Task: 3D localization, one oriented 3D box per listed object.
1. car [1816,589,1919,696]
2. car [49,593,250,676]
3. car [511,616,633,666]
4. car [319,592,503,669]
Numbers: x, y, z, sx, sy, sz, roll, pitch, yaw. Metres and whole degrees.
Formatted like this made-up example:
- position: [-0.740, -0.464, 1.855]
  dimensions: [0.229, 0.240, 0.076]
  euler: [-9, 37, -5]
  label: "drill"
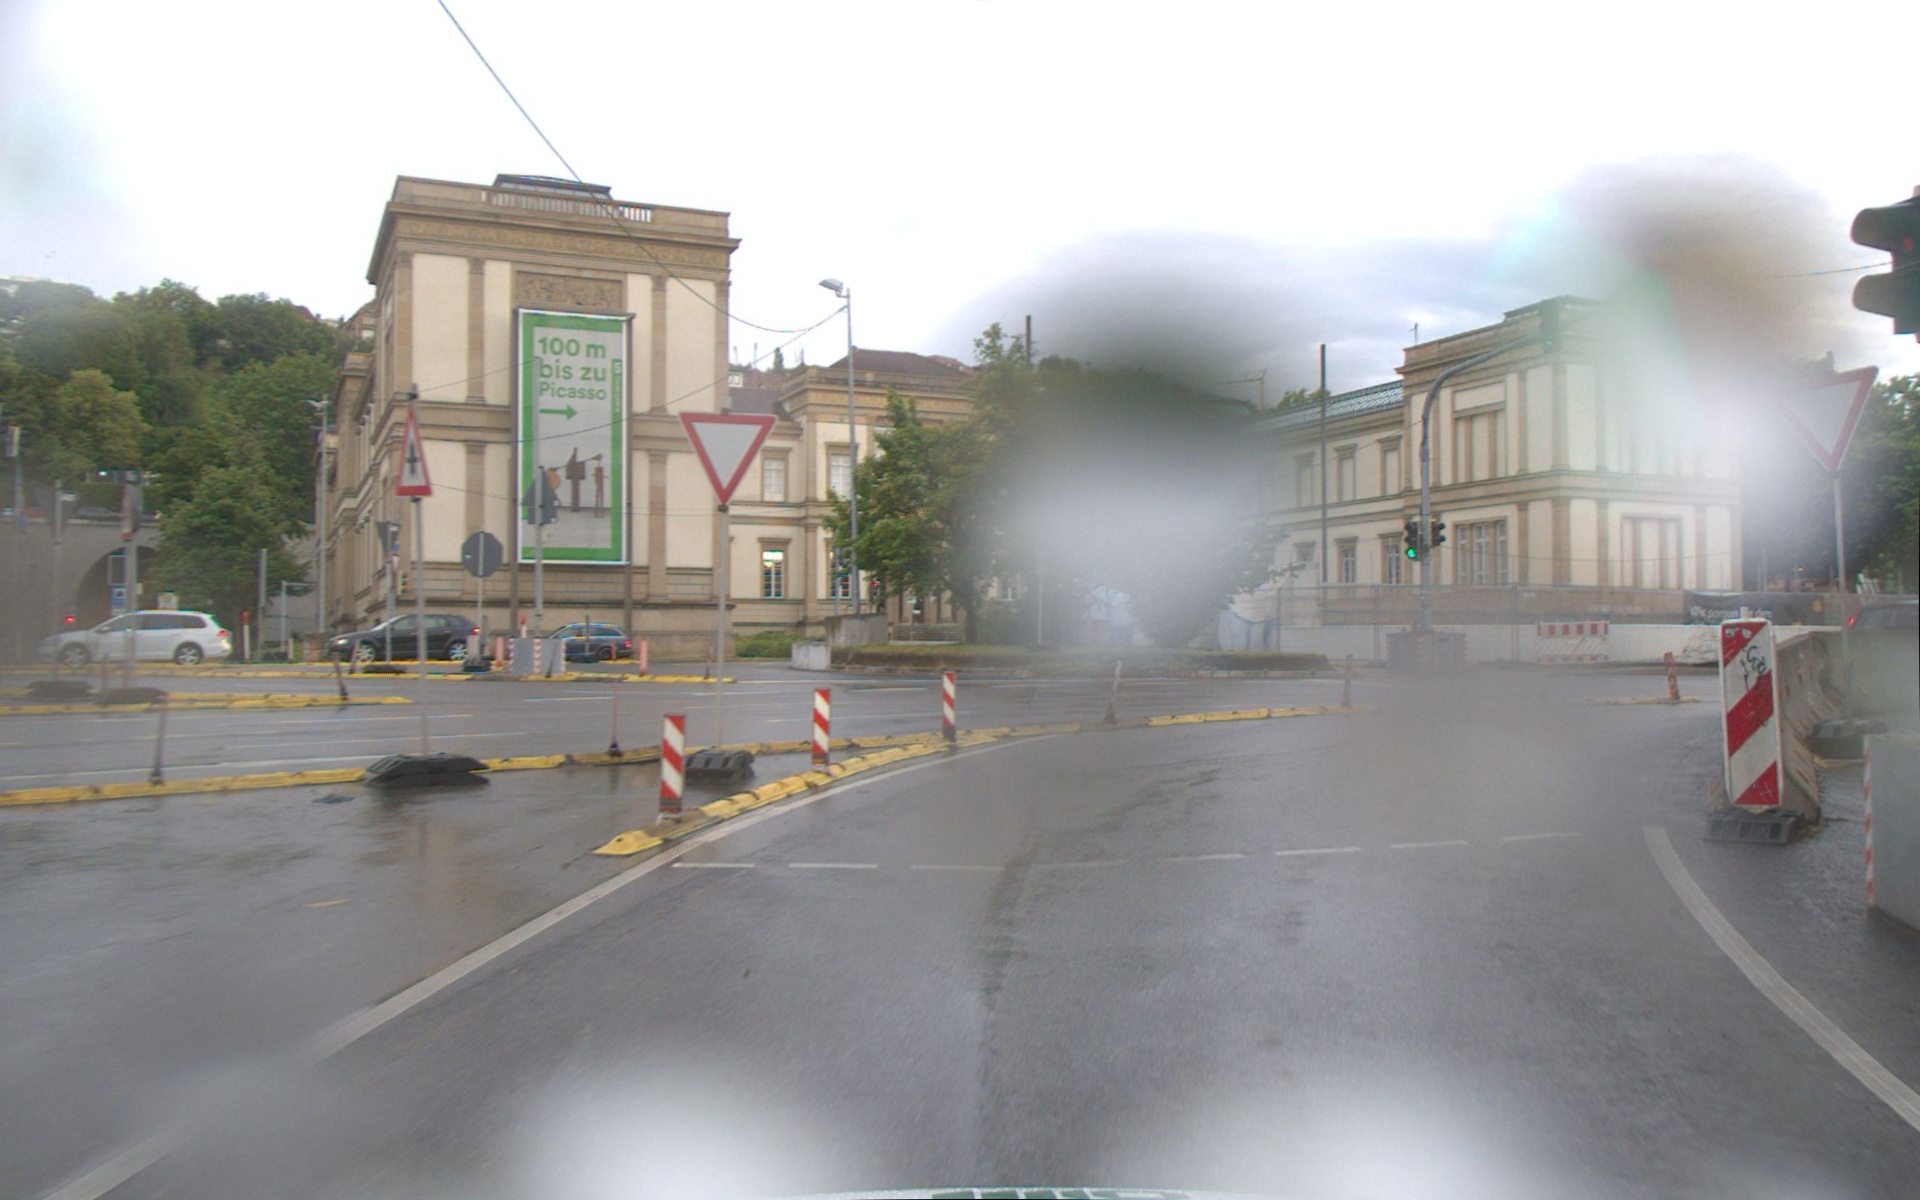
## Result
- position: [14.443, 0.623, 24.329]
  dimensions: [3.709, 1.452, 1.657]
  euler: [2, 0, -32]
  label: "car"
- position: [-21.148, 0.908, 43.286]
  dimensions: [4.571, 2.049, 1.983]
  euler: [2, 0, -27]
  label: "car"
- position: [-14.274, 1.511, 60.763]
  dimensions: [4.123, 1.730, 1.810]
  euler: [2, 0, -22]
  label: "car"
- position: [-15.379, 0.858, 46.361]
  dimensions: [4.619, 2.049, 1.983]
  euler: [2, 0, -27]
  label: "car"
